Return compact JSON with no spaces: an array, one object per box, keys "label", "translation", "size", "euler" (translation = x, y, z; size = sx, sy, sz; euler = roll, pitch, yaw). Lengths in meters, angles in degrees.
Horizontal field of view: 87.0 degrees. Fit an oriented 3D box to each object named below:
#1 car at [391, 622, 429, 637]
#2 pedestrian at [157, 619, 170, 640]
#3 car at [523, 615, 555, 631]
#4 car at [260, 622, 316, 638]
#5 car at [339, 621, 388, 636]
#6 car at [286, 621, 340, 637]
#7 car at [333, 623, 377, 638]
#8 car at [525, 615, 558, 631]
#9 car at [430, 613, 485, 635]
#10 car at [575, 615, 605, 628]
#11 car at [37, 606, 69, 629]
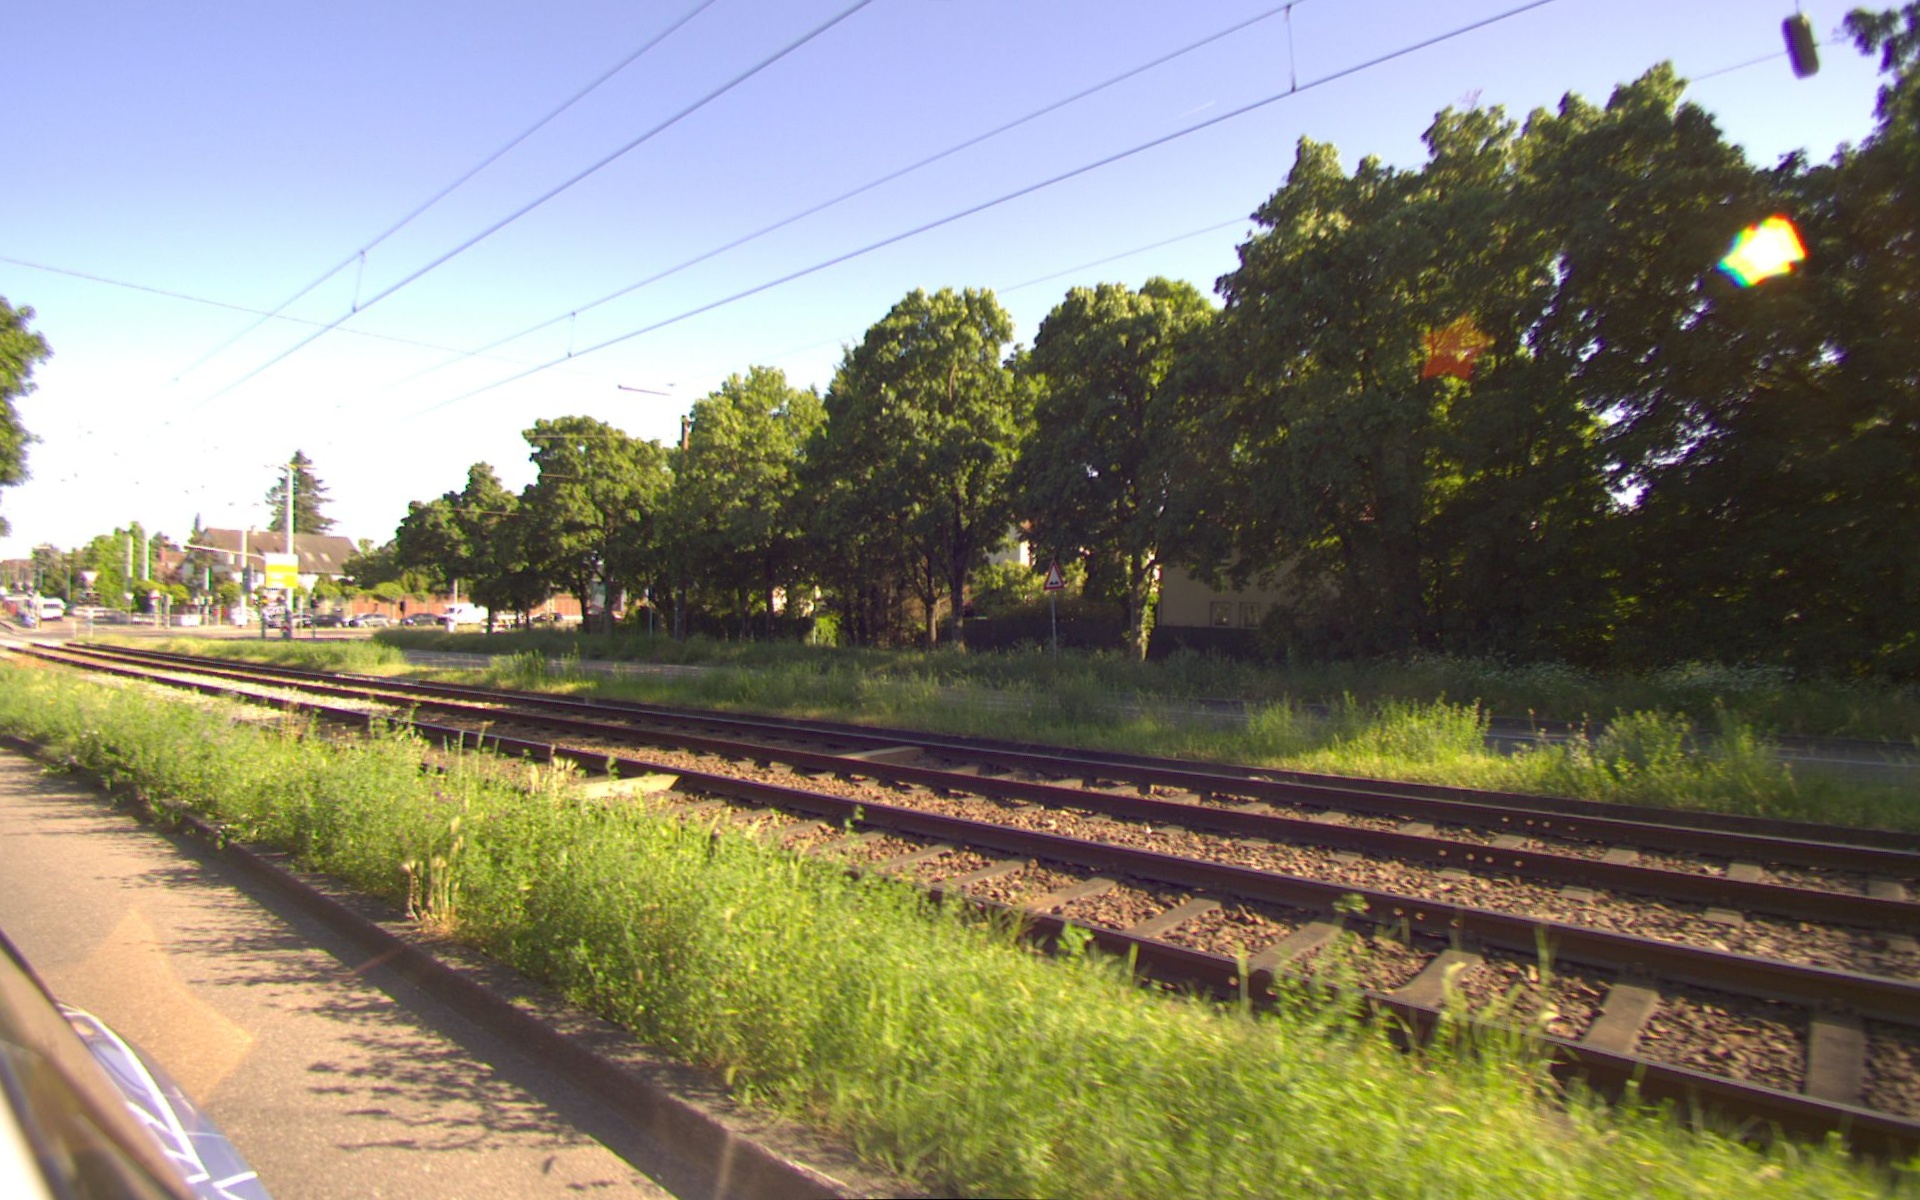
[{"label":"car","translation":[-59.673,3.151,109.871],"size":[1.485,1.579,3.506],"euler":[0,-1,18]},{"label":"pedestrian","translation":[-74.012,2.735,94.033],"size":[0.765,1.963,0.611],"euler":[0,-1,0]},{"label":"car","translation":[-55.857,3.043,134.344],"size":[1.791,2.029,3.980],"euler":[0,-1,15]},{"label":"car","translation":[-66.543,2.989,100.326],"size":[1.658,1.488,4.611],"euler":[1,-1,16]},{"label":"car","translation":[-61.650,2.972,104.711],"size":[1.921,1.477,4.236],"euler":[-1,-1,16]},{"label":"car","translation":[-63.575,2.836,99.515],"size":[1.921,1.477,4.226],"euler":[0,-1,16]},{"label":"car","translation":[-64.531,3.239,108.039],"size":[1.658,1.488,3.979],"euler":[1,-1,16]},{"label":"car","translation":[-53.724,2.957,130.033],"size":[1.791,2.029,3.980],"euler":[0,-1,15]},{"label":"car","translation":[-57.682,2.713,116.322],"size":[2.163,2.429,5.886],"euler":[0,-1,18]},{"label":"car","translation":[-50.423,2.974,137.979],"size":[1.791,1.755,3.980],"euler":[0,-1,15]},{"label":"car","translation":[-104.062,1.989,116.205],"size":[2.311,2.476,6.883],"euler":[1,-1,-39]}]
